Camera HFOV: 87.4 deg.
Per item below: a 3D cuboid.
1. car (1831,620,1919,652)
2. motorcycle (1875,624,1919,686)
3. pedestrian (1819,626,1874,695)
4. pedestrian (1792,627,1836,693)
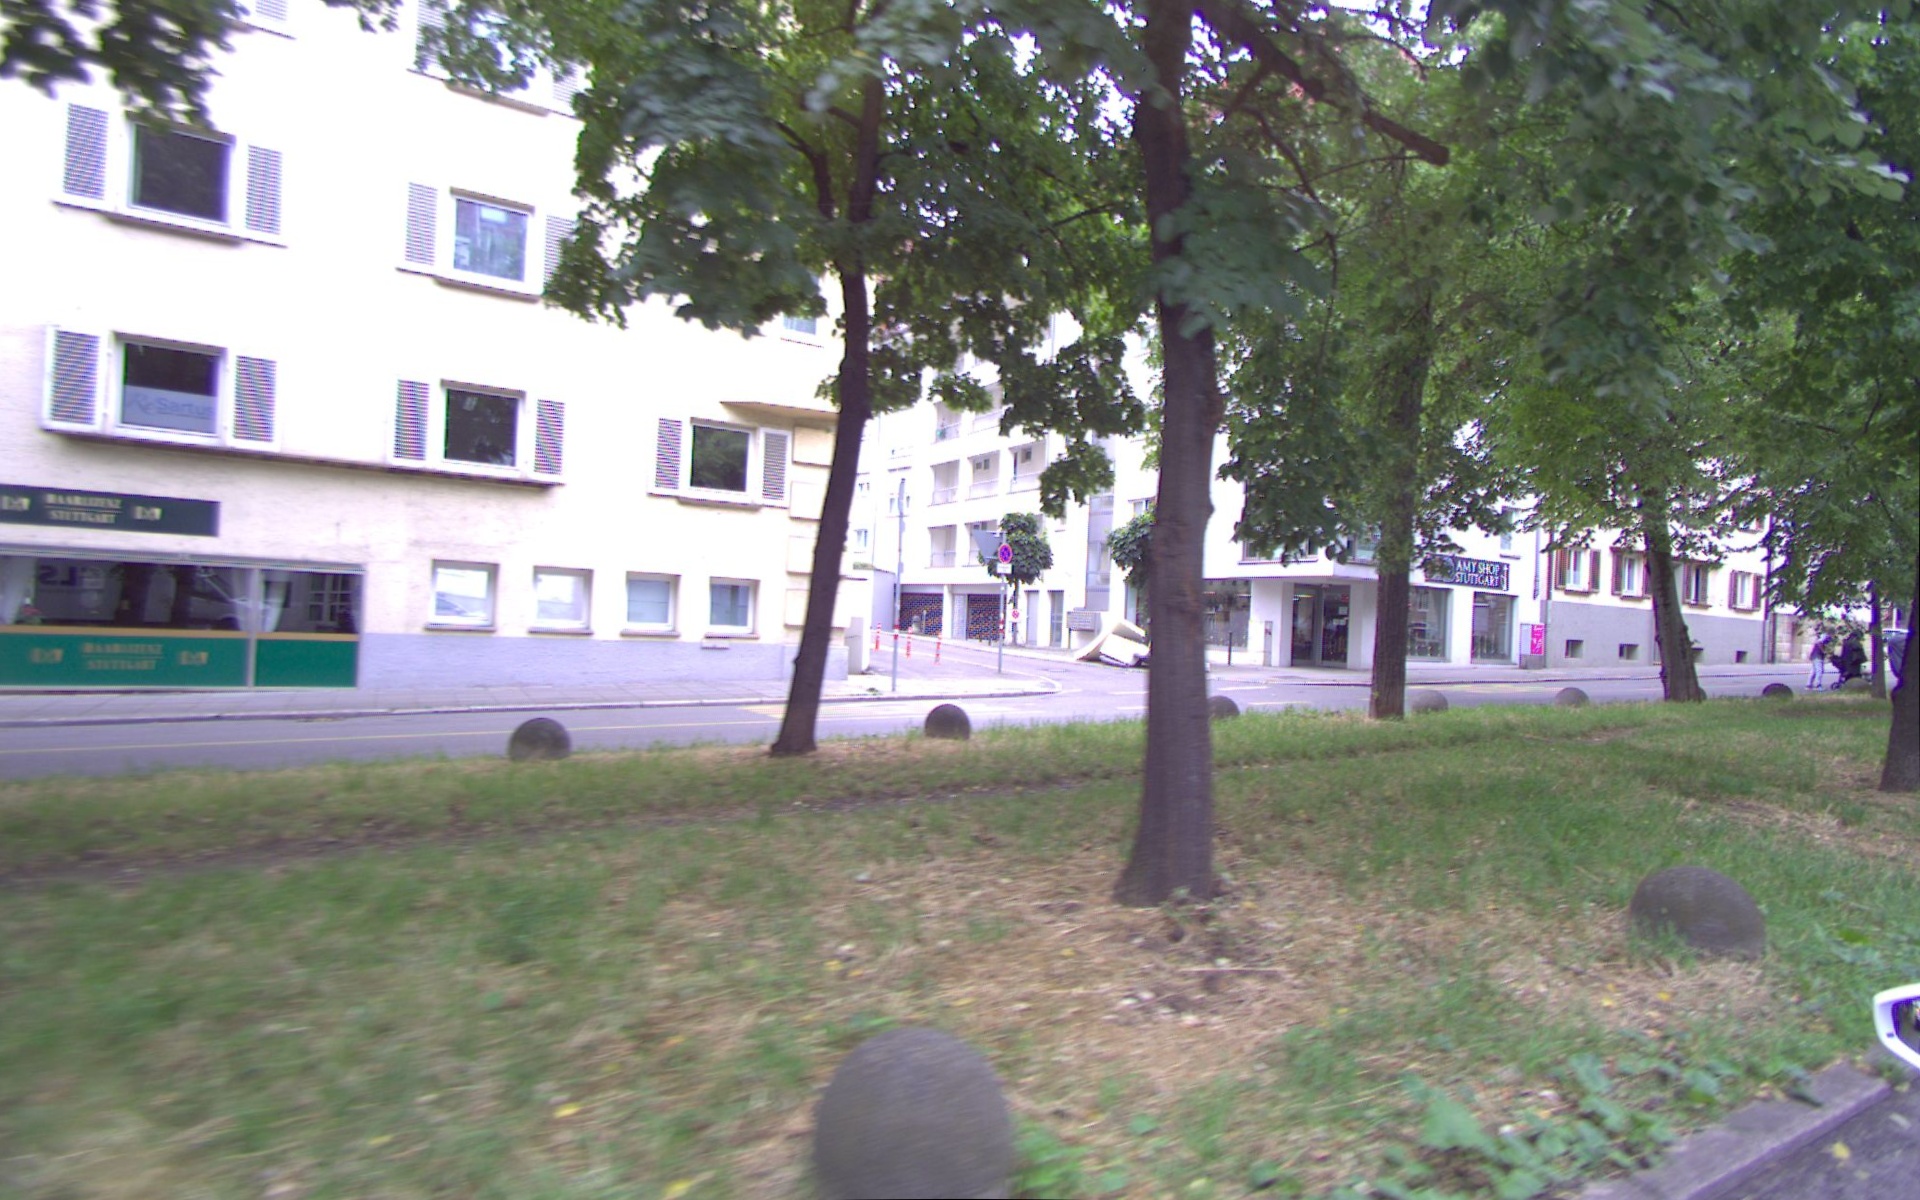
[{"bbox_3d":[47.981,1.863,51.967,1.976,1.517,3.968,1,0,-30],"label":"car"},{"bbox_3d":[21.794,1.242,22.010,1.034,1.335,2.370,1,0,-31],"label":"motorcycle"},{"bbox_3d":[21.455,1.458,24.310,0.751,1.635,0.635,1,1,-13],"label":"pedestrian"},{"bbox_3d":[21.860,1.513,25.719,0.572,1.638,0.660,1,1,-28],"label":"pedestrian"}]
